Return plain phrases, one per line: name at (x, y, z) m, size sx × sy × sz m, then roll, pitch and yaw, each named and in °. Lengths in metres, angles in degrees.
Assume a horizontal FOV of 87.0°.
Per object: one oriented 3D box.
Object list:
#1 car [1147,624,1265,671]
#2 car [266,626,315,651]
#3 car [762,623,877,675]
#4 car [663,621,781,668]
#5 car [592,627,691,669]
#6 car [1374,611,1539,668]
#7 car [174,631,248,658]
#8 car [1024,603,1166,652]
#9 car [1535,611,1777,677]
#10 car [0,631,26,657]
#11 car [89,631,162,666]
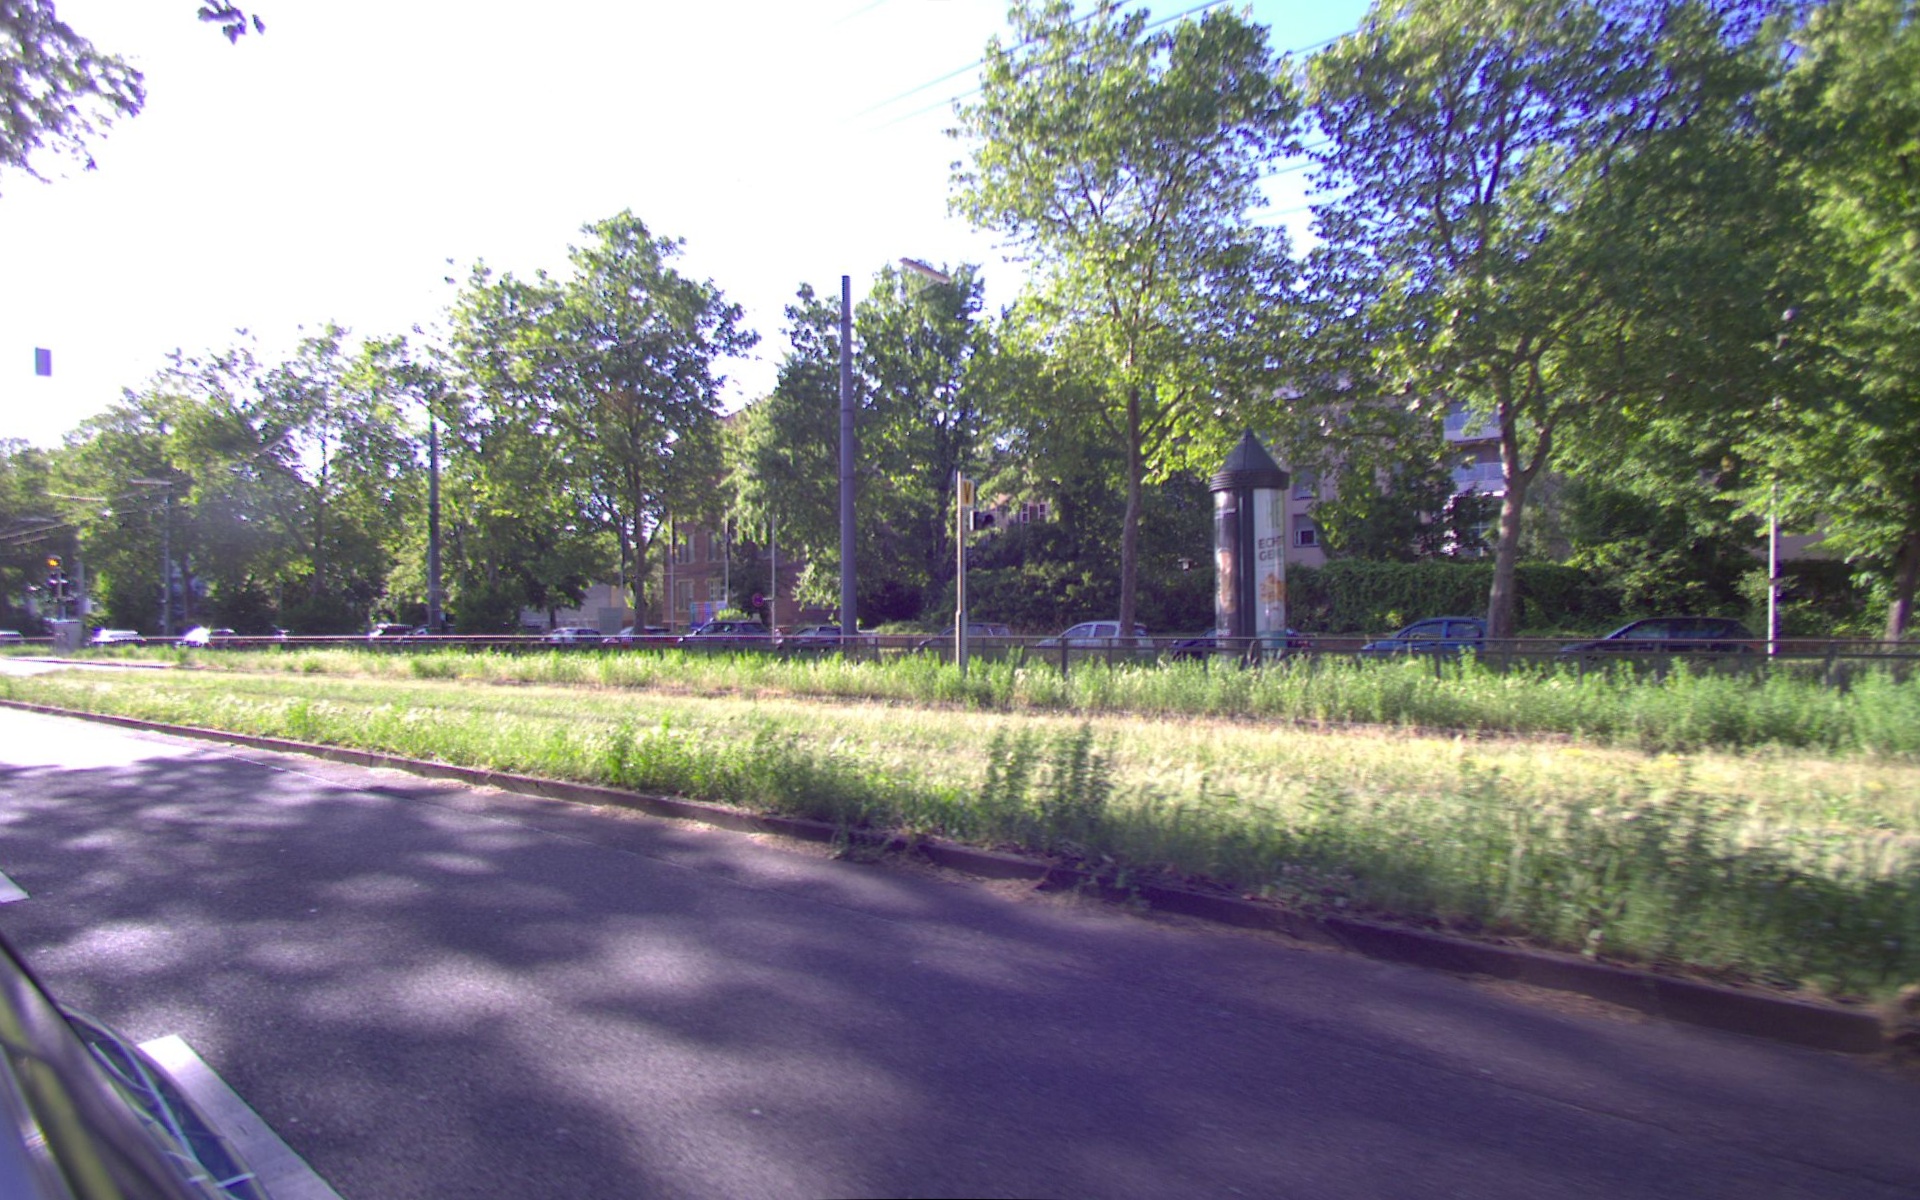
car at (6.698, 1.276, 27.627) m, size 2.838 × 1.209 × 1.388 m, roll -2°, pitch -1°, yaw 35°
car at (-42.738, 2.469, 64.574) m, size 3.818 × 1.482 × 1.576 m, roll -2°, pitch 0°, yaw 40°
car at (-5.189, 1.793, 37.159) m, size 3.990 × 1.696 × 1.806 m, roll -2°, pitch 0°, yaw 35°
car at (-9.534, 1.766, 40.447) m, size 4.501 × 1.696 × 1.978 m, roll -2°, pitch 0°, yaw 34°
car at (-13.722, 2.071, 43.588) m, size 3.989 × 1.634 × 1.977 m, roll -2°, pitch 0°, yaw 34°
car at (11.761, 0.918, 24.047) m, size 3.351 × 1.238 × 1.395 m, roll -2°, pitch -1°, yaw 35°
car at (-36.839, 2.194, 49.750) m, size 4.699 × 1.143 × 1.674 m, roll -2°, pitch 0°, yaw 38°
car at (3.969, 0.825, 29.983) m, size 3.773 × 1.322 × 1.753 m, roll -2°, pitch 0°, yaw 36°
car at (14.432, 0.880, 21.175) m, size 3.992 × 1.187 × 1.776 m, roll -1°, pitch 1°, yaw 36°
car at (-59.957, 2.760, 63.003) m, size 3.864 × 1.541 × 1.830 m, roll -2°, pitch 0°, yaw 34°
car at (-40.554, 2.350, 49.138) m, size 4.039 × 1.563 × 1.778 m, roll -2°, pitch 0°, yaw 36°
